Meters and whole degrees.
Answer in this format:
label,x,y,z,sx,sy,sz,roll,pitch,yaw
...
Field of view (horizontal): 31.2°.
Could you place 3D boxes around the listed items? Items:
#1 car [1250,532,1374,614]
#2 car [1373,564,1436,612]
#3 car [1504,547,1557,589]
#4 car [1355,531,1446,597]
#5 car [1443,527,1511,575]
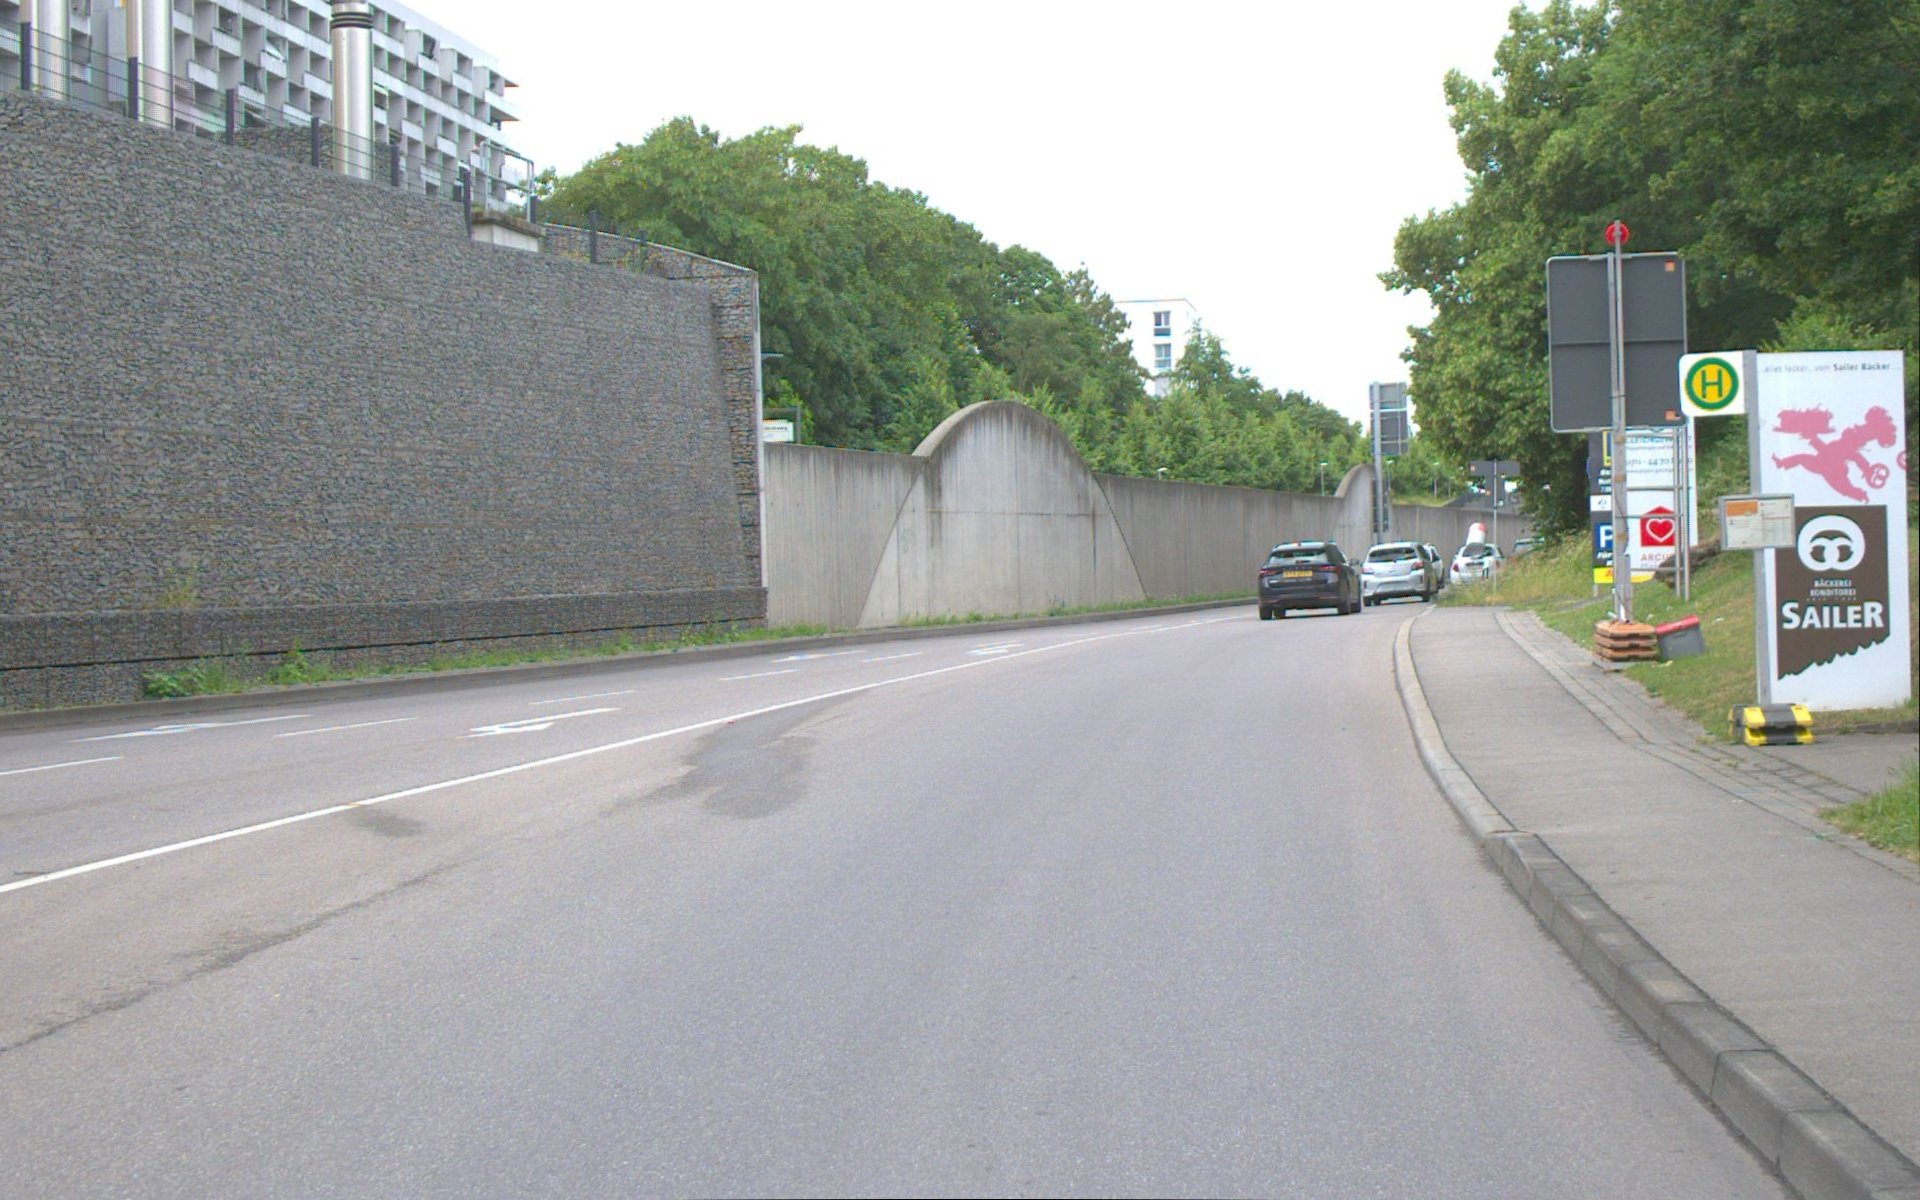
label,x,y,z,sx,sy,sz,roll,pitch,yaw
car,6.998,-0.506,68.023,1.755,1.518,4.033,0,-1,16
car,15.848,-0.441,122.484,1.862,1.626,4.206,-3,0,11
car,21.948,-1.217,132.102,1.755,1.528,4.251,0,-1,13
car,10.799,-0.859,84.037,1.755,1.518,4.034,0,-1,14
car,16.553,-1.538,109.892,1.867,1.485,4.254,0,0,12
